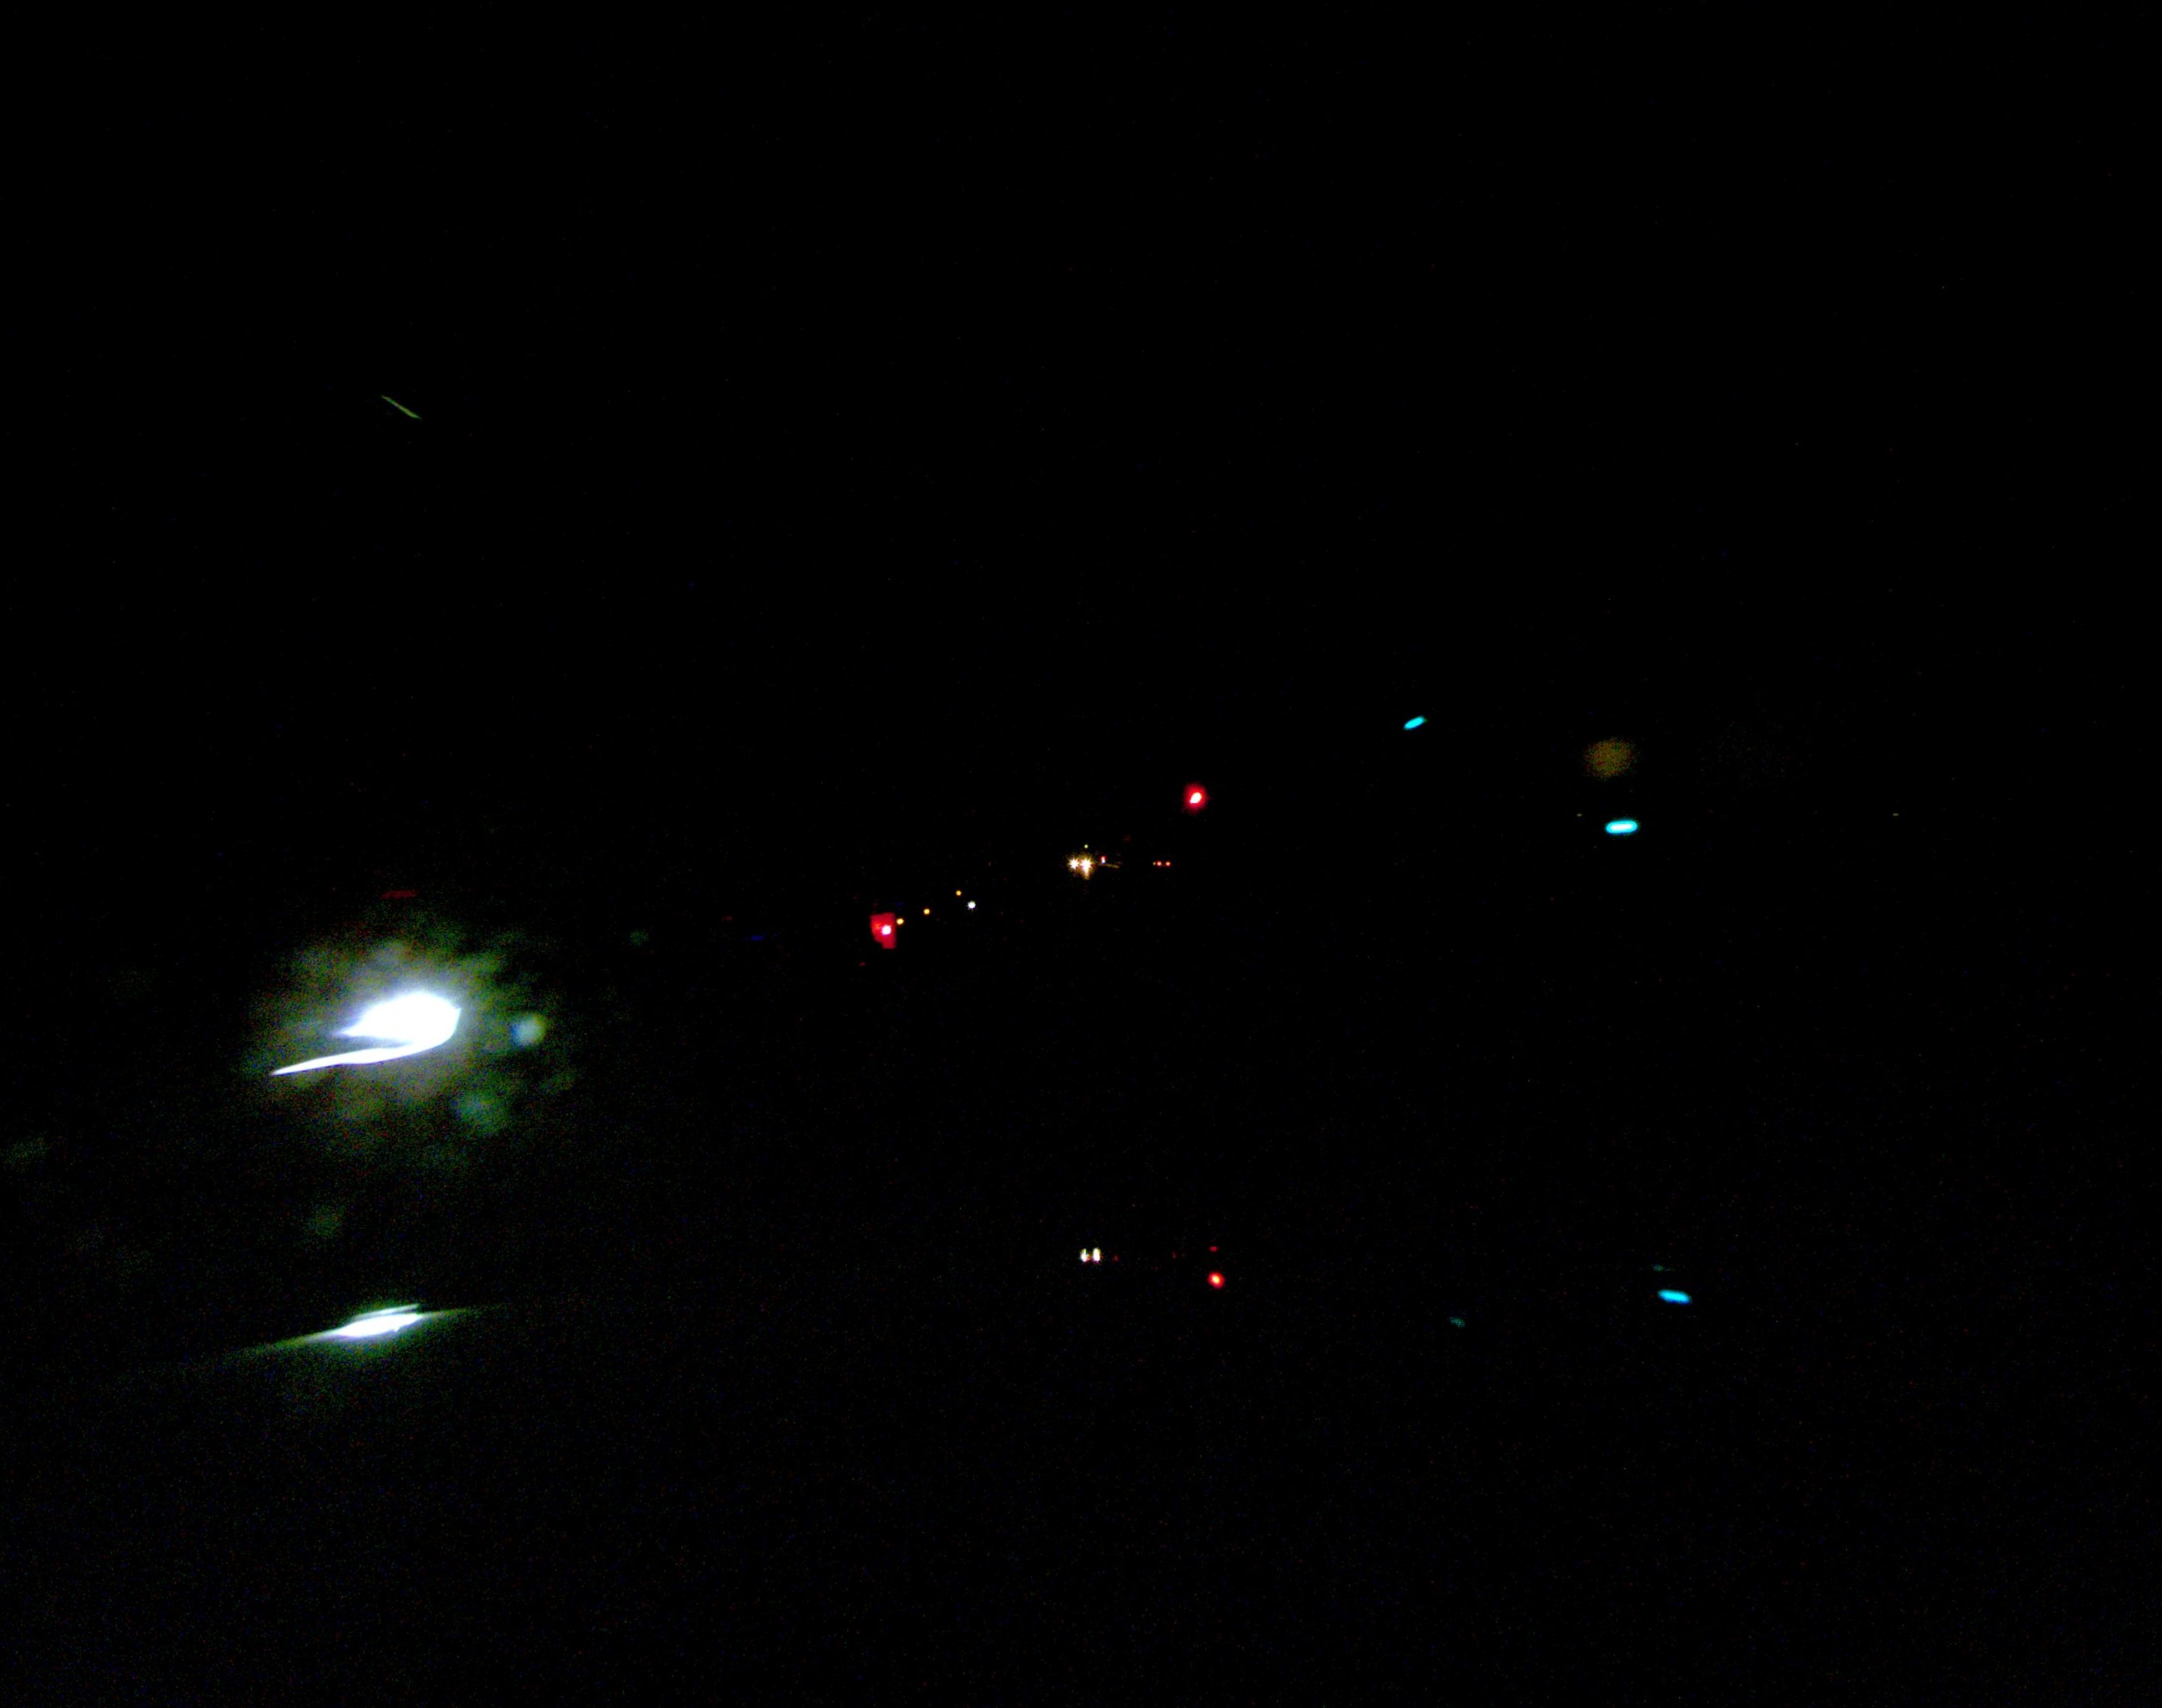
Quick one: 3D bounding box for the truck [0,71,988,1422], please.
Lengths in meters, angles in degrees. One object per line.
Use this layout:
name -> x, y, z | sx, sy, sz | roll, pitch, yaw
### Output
truck -> -3.406, -0.283, 8.899 | 2.694, 4.082, 13.141 | -2, 0, 1

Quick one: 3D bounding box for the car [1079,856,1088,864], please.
car -> 0.401, 1.132, 143.452 | 1.570, 1.336, 4.166 | -2, 0, -1

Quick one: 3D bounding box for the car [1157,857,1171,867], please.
car -> 12.295, 1.192, 113.074 | 1.609, 1.322, 3.939 | 1, 0, -1
